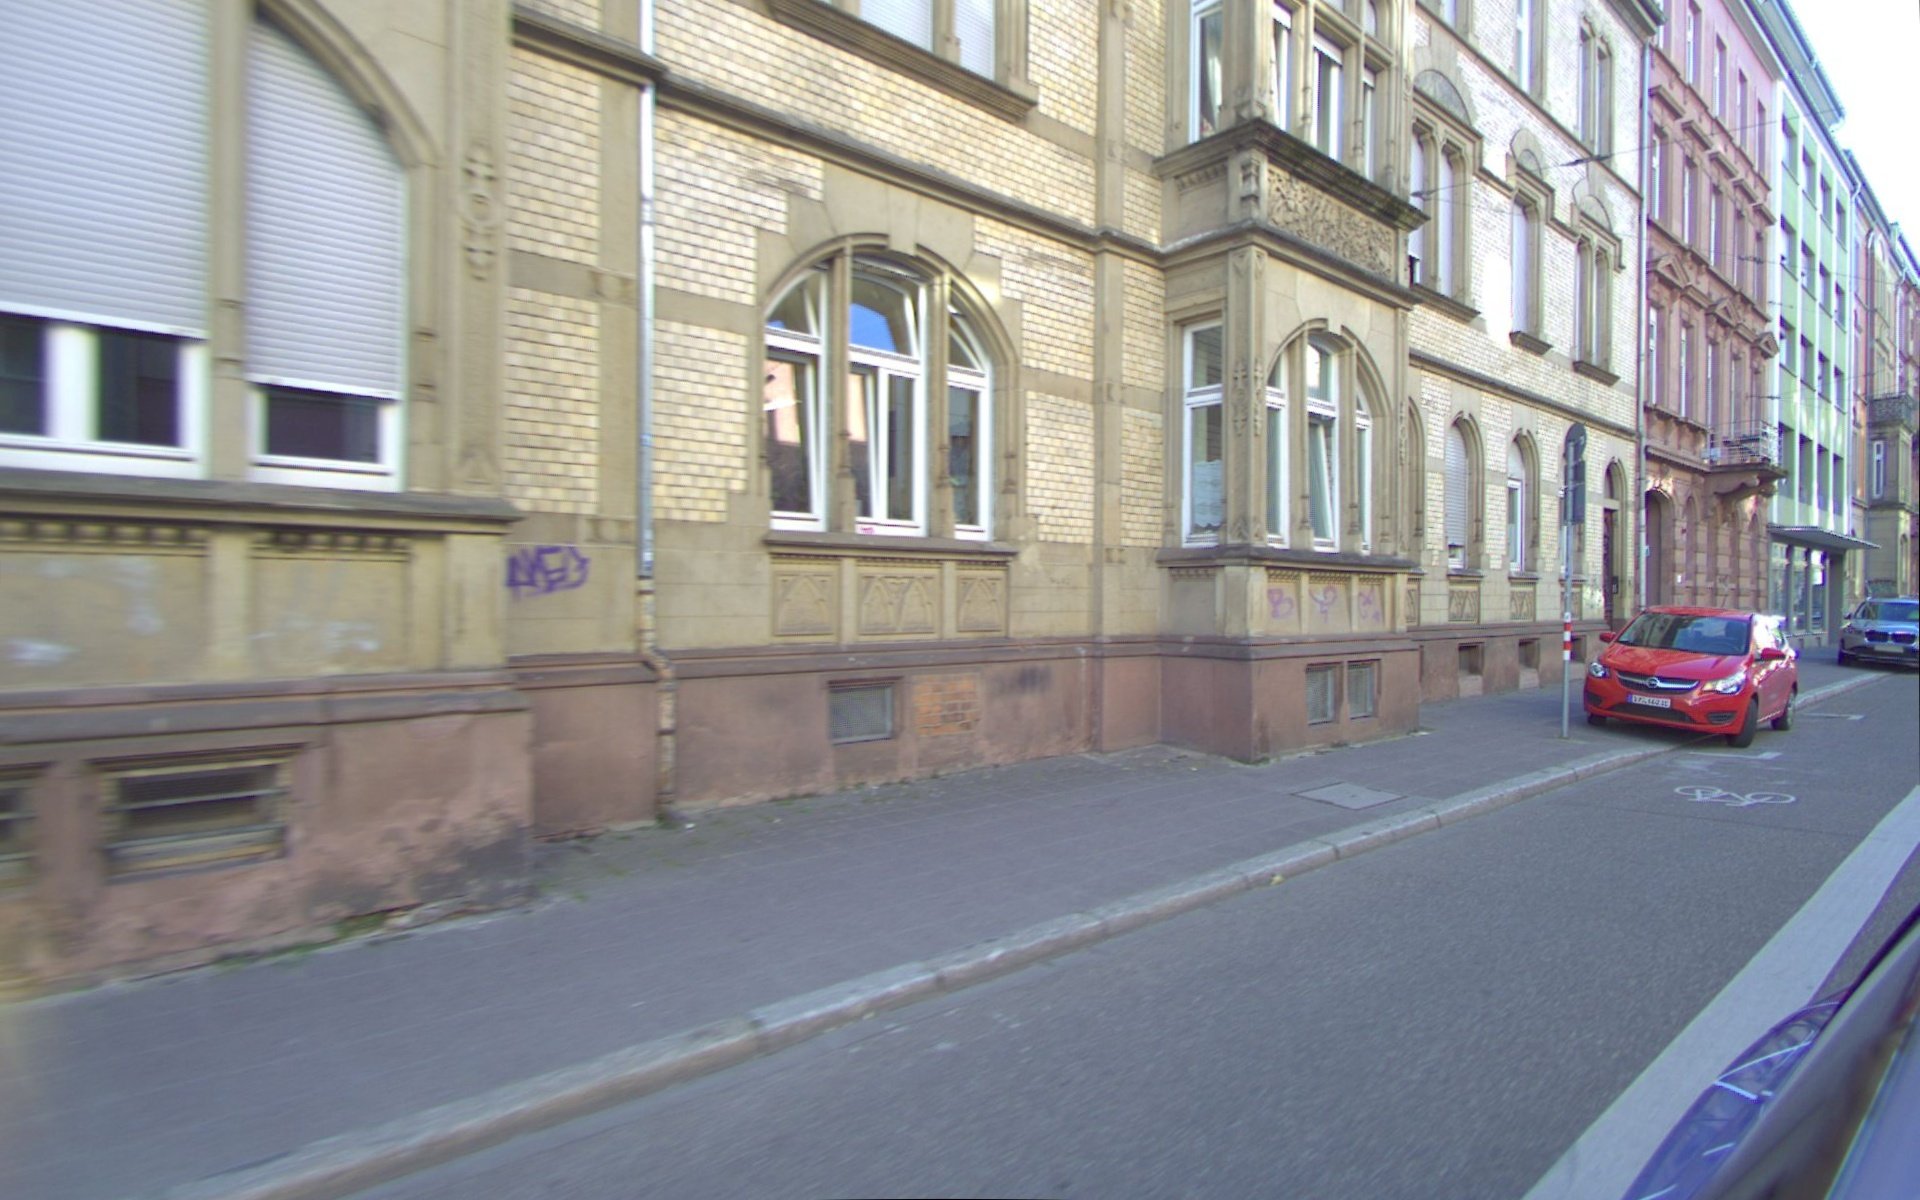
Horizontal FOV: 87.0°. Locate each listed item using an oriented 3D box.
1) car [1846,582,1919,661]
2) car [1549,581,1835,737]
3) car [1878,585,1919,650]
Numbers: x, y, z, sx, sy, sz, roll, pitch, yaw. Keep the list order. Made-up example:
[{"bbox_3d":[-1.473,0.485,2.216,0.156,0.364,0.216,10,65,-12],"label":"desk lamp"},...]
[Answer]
[{"bbox_3d":[22.498,0.462,24.010,4.330,1.666,1.868,-1,4,-45],"label":"car"},{"bbox_3d":[9.091,0.570,12.437,4.325,1.500,1.870,-1,4,-41],"label":"car"},{"bbox_3d":[26.683,0.475,27.483,4.703,1.635,1.998,-1,4,-41],"label":"car"}]
